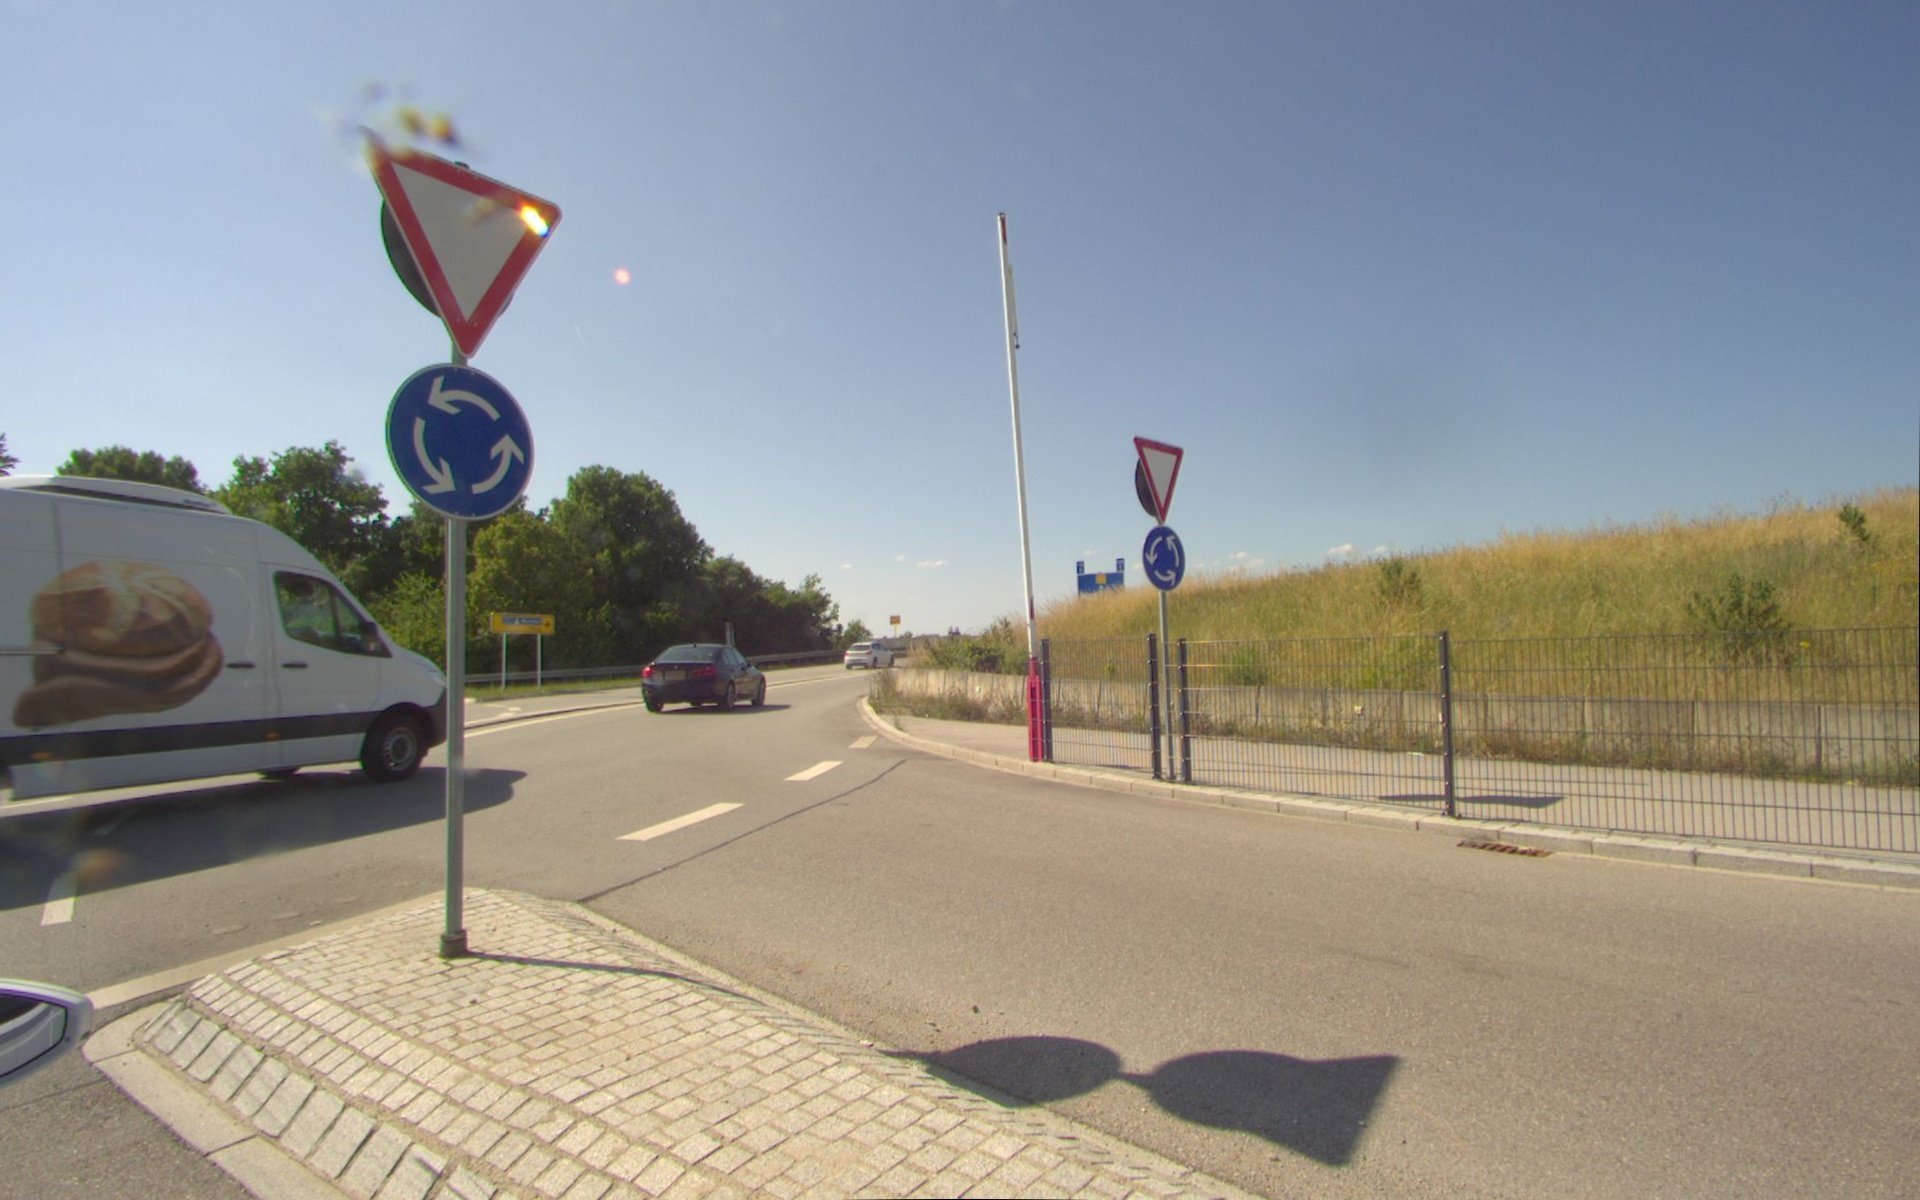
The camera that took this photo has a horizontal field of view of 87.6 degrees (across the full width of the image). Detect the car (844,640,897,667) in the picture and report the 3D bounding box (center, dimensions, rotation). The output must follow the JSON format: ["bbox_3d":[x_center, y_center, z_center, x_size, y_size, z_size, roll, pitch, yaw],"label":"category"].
[{"bbox_3d":[-4.956,2.992,56.121,1.758,1.422,4.416,-1,-3,12],"label":"car"}]

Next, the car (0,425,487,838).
[{"bbox_3d":[-7.366,0.276,8.742,2.049,2.958,6.126,-1,-2,21],"label":"car"}]

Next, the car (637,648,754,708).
[{"bbox_3d":[-5.752,1.662,22.194,1.644,1.197,3.868,0,-3,-1],"label":"car"}]
